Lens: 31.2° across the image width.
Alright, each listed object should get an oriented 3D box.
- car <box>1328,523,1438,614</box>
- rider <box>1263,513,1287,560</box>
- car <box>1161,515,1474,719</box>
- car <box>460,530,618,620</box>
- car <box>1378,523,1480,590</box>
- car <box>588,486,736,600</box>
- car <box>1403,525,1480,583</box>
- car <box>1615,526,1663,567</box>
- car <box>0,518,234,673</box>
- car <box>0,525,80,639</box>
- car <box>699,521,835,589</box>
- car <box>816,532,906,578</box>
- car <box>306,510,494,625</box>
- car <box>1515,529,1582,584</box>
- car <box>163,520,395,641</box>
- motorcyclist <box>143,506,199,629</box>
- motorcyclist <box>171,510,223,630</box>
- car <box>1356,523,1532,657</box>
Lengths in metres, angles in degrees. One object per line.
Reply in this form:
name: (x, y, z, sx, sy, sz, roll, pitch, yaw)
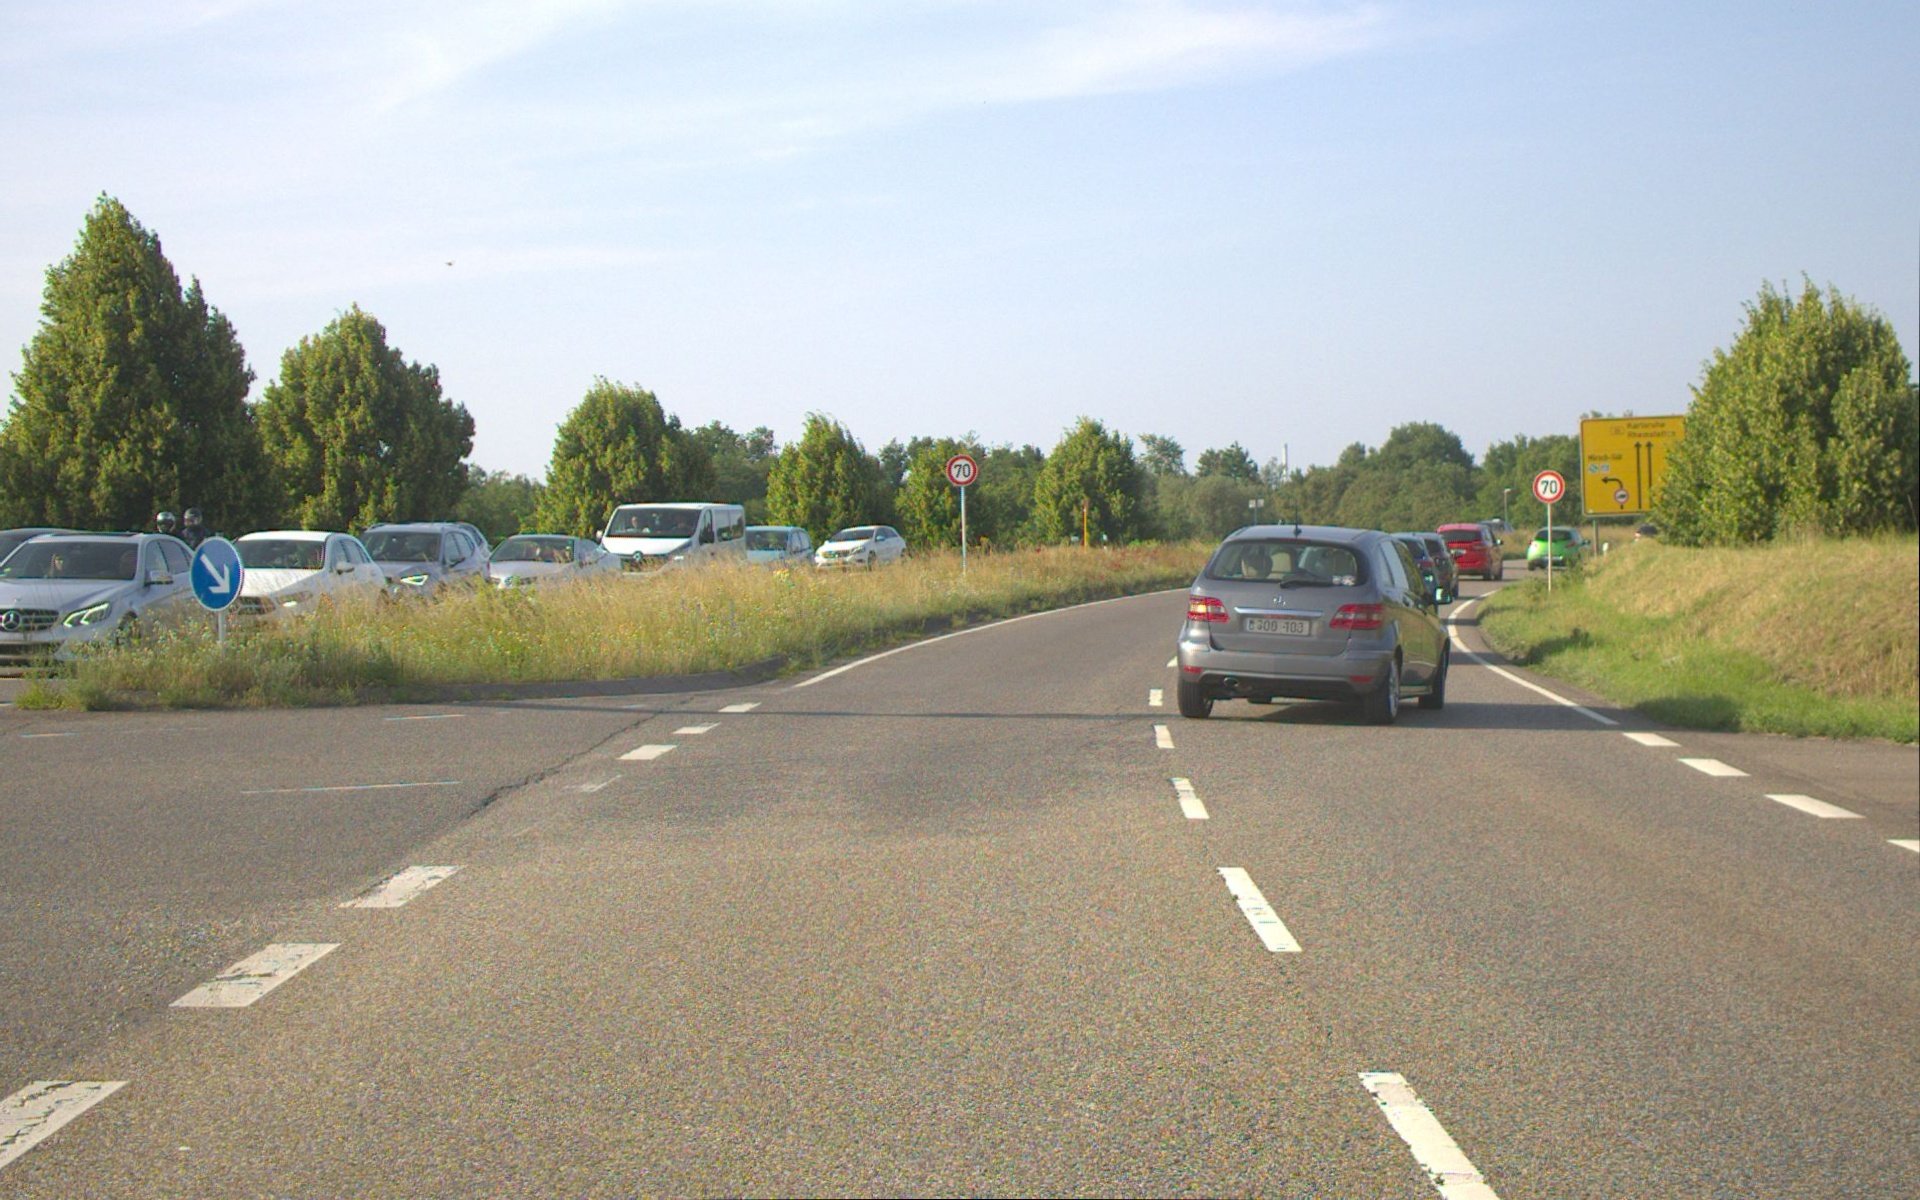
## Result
car: (7.217, -0.555, 58.371, 1.773, 1.487, 3.984, 0, 1, 8)
rider: (13.659, -2.751, 149.105, 0.868, 2.007, 0.771, 0, 1, 15)
car: (3.110, 0.139, 29.180, 1.786, 1.600, 4.192, 0, 0, 18)
car: (-6.770, -0.427, 55.629, 1.786, 1.381, 4.051, -1, 1, 4)
car: (10.449, -0.953, 76.389, 1.916, 1.411, 3.793, 0, 0, 13)
car: (-5.591, -1.080, 65.015, 1.926, 2.071, 4.242, -1, 1, 7)
car: (13.692, -1.285, 97.625, 1.896, 1.559, 4.276, 0, 0, 11)
car: (30.036, -2.354, 152.048, 1.910, 1.728, 4.275, 0, 0, 14)
car: (-9.020, -0.081, 35.458, 1.786, 1.483, 4.651, -1, 1, 4)
car: (-12.832, -0.240, 44.093, 1.786, 1.428, 4.051, -1, 1, 4)
car: (-4.075, -0.968, 73.197, 1.787, 1.381, 4.049, 0, 1, 13)
car: (-3.057, -1.419, 106.970, 1.787, 1.381, 4.049, 0, 1, 13)
car: (-7.995, -0.490, 49.418, 1.786, 1.563, 4.051, -1, 1, 4)
car: (19.780, -1.449, 115.454, 1.910, 1.794, 4.275, 0, 0, 14)
car: (-8.485, -0.272, 43.175, 1.786, 1.428, 4.309, -1, 1, 4)
motorcyclist: (-11.293, -0.461, 49.197, 0.662, 1.741, 0.605, -1, 1, -3)
motorcyclist: (-11.603, -0.457, 52.308, 0.662, 1.810, 0.605, -1, 1, -3)
car: (6.036, -0.154, 42.478, 1.811, 1.560, 4.529, 0, 1, 12)
